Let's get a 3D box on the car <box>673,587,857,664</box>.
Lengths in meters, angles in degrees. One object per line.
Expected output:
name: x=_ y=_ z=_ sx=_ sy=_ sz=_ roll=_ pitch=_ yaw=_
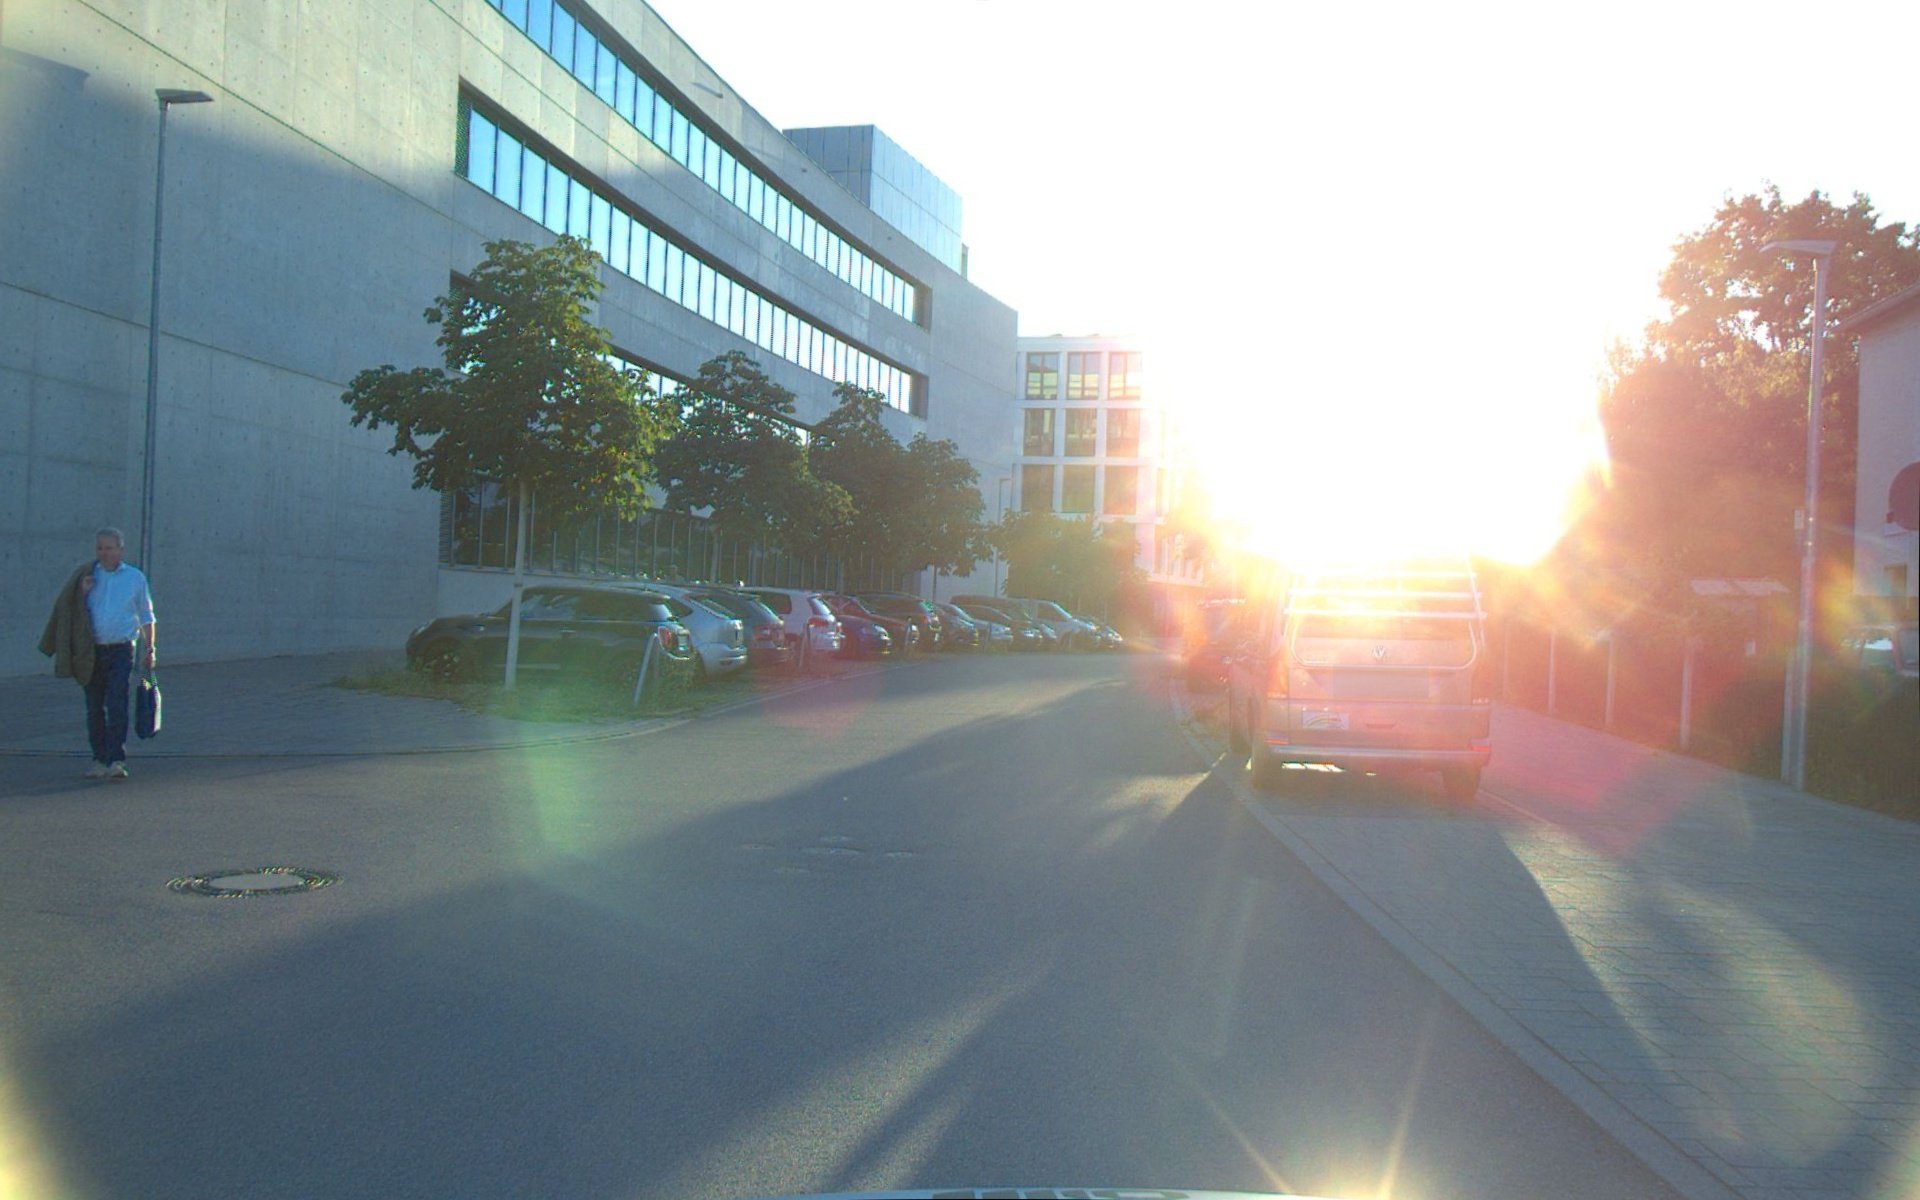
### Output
car: x=-4.119 y=0.526 z=35.215 sx=3.557 sy=1.385 sz=1.687 roll=3 pitch=1 yaw=4

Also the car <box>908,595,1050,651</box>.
car: x=0.641 y=0.767 z=55.412 sx=4.307 sy=1.525 sz=1.763 roll=4 pitch=0 yaw=19

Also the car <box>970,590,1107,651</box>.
car: x=3.103 y=0.805 z=65.125 sx=4.970 sy=1.980 sz=1.890 roll=4 pitch=0 yaw=16

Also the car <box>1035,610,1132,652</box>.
car: x=5.271 y=1.315 z=70.487 sx=3.806 sy=1.514 sz=1.652 roll=4 pitch=0 yaw=17

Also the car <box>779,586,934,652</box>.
car: x=-2.642 y=0.491 z=42.735 sx=3.623 sy=1.483 sz=1.713 roll=3 pitch=-1 yaw=10

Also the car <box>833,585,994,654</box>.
car: x=-1.301 y=0.546 z=47.394 sx=4.217 sy=1.726 sz=1.898 roll=3 pitch=-1 yaw=11

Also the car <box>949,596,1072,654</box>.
car: x=1.873 y=0.924 z=61.229 sx=4.158 sy=1.772 sz=1.726 roll=4 pitch=0 yaw=15

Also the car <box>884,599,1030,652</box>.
car: x=-0.098 y=0.807 z=53.204 sx=4.340 sy=1.489 sz=1.764 roll=3 pitch=0 yaw=15

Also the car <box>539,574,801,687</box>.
car: x=-4.713 y=0.479 z=27.212 sx=3.915 sy=1.538 sz=1.586 roll=4 pitch=2 yaw=3

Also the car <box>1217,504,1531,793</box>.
car: x=3.512 y=0.351 z=14.988 sx=2.022 sy=2.131 sz=4.875 roll=2 pitch=0 yaw=6

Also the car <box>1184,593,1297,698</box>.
car: x=4.661 y=0.698 z=27.563 sx=1.703 sy=1.579 sz=3.643 roll=2 pitch=0 yaw=9

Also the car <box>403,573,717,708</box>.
car: x=-5.287 y=0.510 z=22.188 sx=3.657 sy=1.507 sz=1.770 roll=4 pitch=1 yaw=3

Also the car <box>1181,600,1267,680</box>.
car: x=5.836 y=0.817 z=36.272 sx=1.674 sy=1.577 sz=4.552 roll=2 pitch=0 yaw=11

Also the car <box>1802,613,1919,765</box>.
car: x=10.447 y=0.910 z=17.693 sx=1.496 sy=1.469 sz=3.643 roll=2 pitch=0 yaw=9

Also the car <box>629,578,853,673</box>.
car: x=-4.199 y=0.469 z=32.025 sx=3.903 sy=1.537 sz=1.761 roll=3 pitch=1 yaw=7

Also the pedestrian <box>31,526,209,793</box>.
pedestrian: x=-6.241 y=0.415 z=12.299 sx=0.840 sy=1.882 sz=0.897 roll=2 pitch=1 yaw=40

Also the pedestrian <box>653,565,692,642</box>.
pedestrian: x=-6.958 y=0.077 z=40.088 sx=0.632 sy=1.815 sz=0.725 roll=3 pitch=0 yaw=9

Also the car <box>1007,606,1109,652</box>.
car: x=4.065 y=1.190 z=68.413 sx=3.904 sy=1.548 sz=1.607 roll=4 pitch=0 yaw=15

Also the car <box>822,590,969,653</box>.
car: x=-1.733 y=0.579 z=44.784 sx=3.623 sy=1.483 sz=1.680 roll=3 pitch=-1 yaw=11

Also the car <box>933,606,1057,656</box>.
car: x=1.278 y=1.117 z=59.443 sx=4.057 sy=1.428 sz=1.726 roll=4 pitch=0 yaw=15

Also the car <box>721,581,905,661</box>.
car: x=-3.329 y=0.458 z=37.778 sx=3.788 sy=1.537 sz=1.761 roll=3 pitch=1 yaw=9

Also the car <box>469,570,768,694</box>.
car: x=-5.079 y=0.456 z=24.963 sx=4.001 sy=1.555 sz=1.847 roll=4 pitch=0 yaw=3
